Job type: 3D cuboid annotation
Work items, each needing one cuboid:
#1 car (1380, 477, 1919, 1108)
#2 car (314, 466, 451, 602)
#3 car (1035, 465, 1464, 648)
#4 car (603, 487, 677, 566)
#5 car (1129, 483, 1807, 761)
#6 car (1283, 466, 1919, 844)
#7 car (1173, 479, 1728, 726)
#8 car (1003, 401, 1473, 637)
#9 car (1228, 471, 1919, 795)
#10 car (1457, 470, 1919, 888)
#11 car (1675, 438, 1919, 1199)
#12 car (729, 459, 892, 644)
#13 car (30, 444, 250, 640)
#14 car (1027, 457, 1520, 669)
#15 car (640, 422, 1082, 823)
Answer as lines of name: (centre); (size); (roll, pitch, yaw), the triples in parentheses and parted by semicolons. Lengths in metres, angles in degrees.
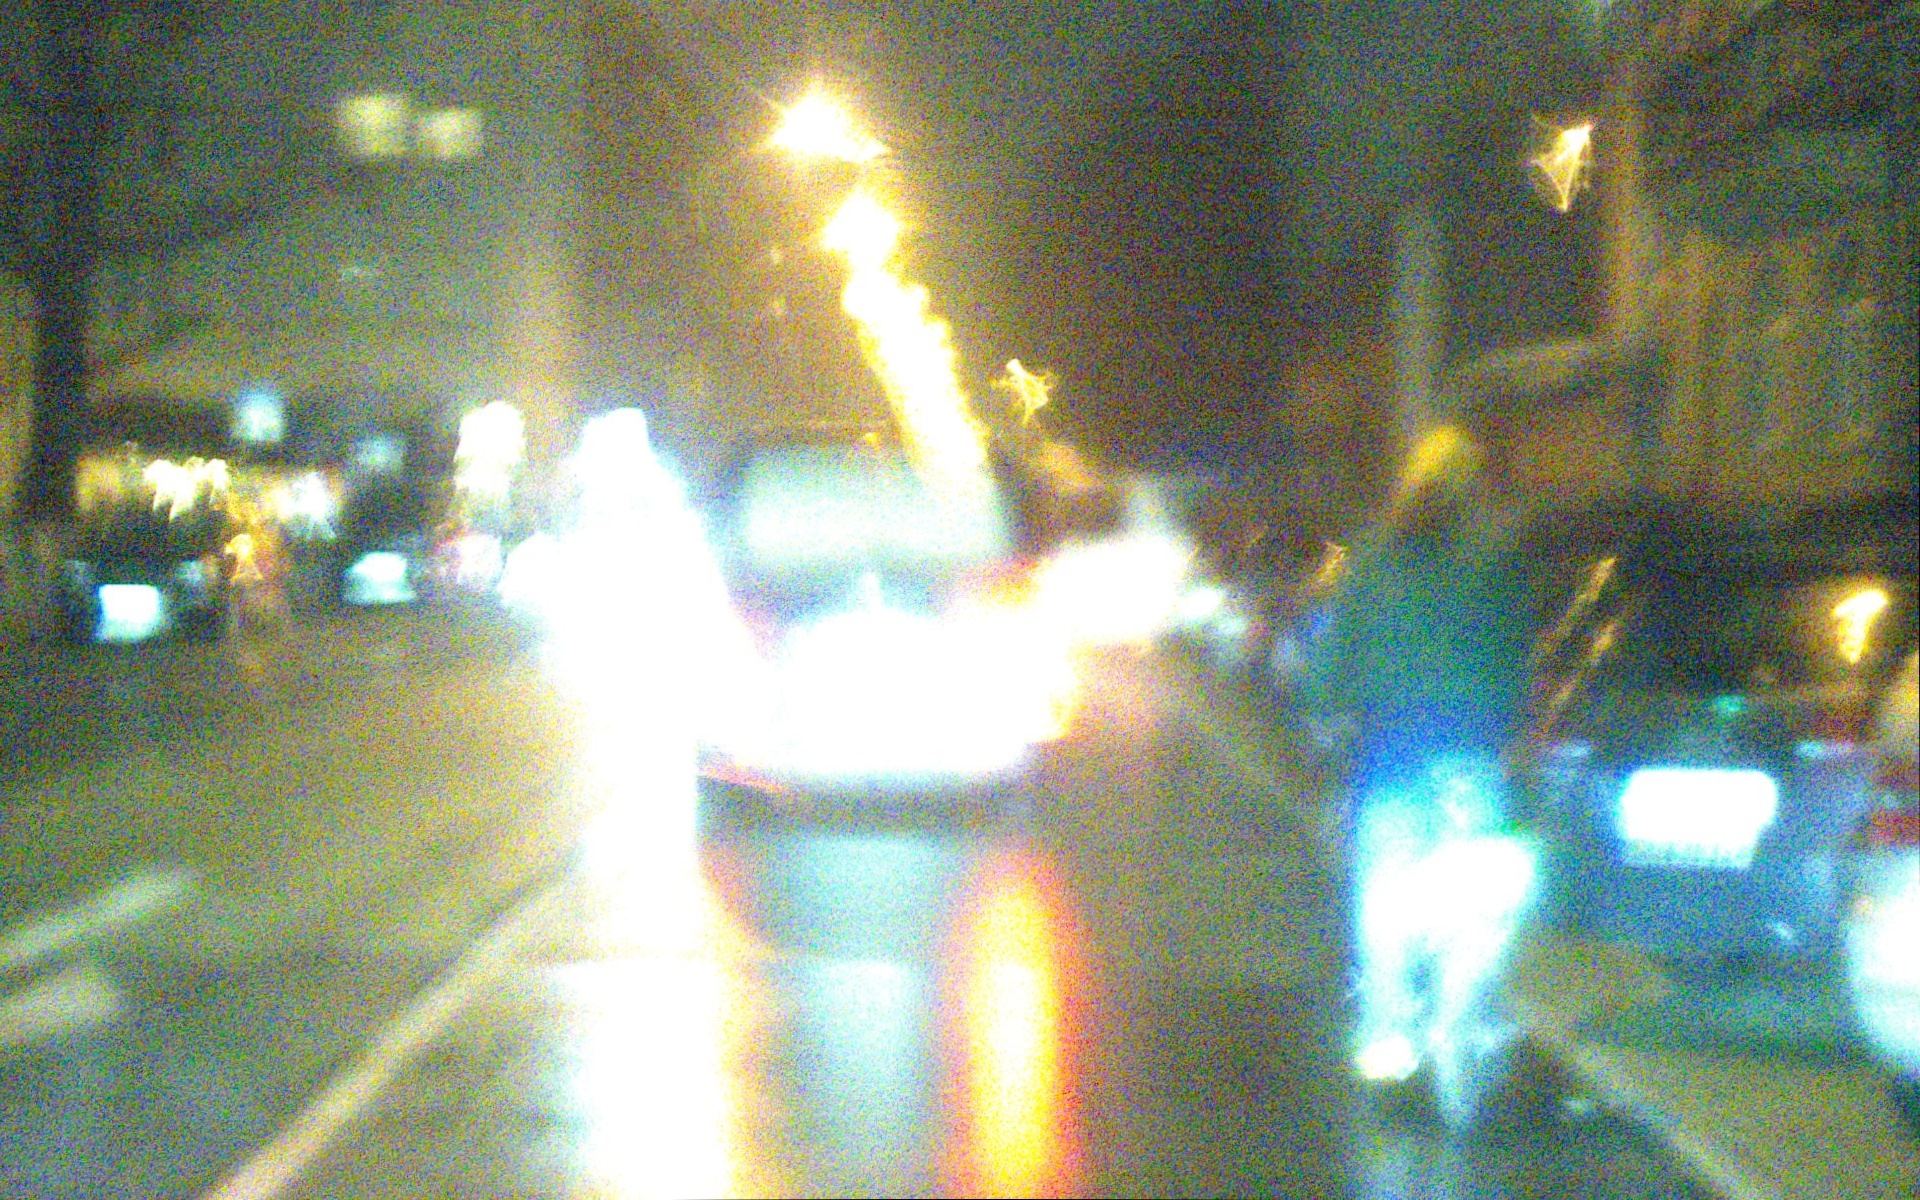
car: (3.494, 0.408, 10.717); (4.172, 1.584, 1.731); (-3, 3, -33)
car: (-8.715, -1.014, 51.718); (1.724, 1.965, 3.729); (0, 2, -14)
car: (2.949, -0.475, 34.567); (4.173, 1.639, 1.770); (-3, 3, -38)
car: (-8.108, -1.884, 87.388); (1.724, 1.965, 4.222); (0, 2, -3)
car: (3.436, 0.090, 23.307); (4.171, 1.639, 1.771); (-2, 2, -20)
car: (3.723, 0.182, 17.641); (4.174, 1.639, 1.661); (-4, 3, -41)
car: (3.806, -0.039, 26.316); (4.173, 1.639, 1.770); (-3, 3, -38)
car: (3.123, -0.947, 38.004); (4.995, 2.383, 2.139); (-3, 3, -38)
car: (3.852, 0.123, 20.051); (4.171, 1.639, 1.771); (-2, 2, -20)
car: (4.160, 0.199, 14.422); (4.173, 1.470, 1.661); (-3, 3, -38)
car: (3.794, 0.367, 7.992); (4.173, 1.571, 1.882); (-3, 3, -37)
car: (-1.717, -0.576, 38.655); (1.724, 1.965, 4.222); (0, 2, -3)
car: (-8.825, -0.652, 36.761); (1.990, 1.965, 4.303); (0, 2, -17)
car: (2.787, -0.371, 30.087); (4.173, 1.639, 1.770); (-3, 3, -38)
car: (-0.486, 0.046, 19.140); (2.168, 1.965, 4.302); (-1, 2, 0)
